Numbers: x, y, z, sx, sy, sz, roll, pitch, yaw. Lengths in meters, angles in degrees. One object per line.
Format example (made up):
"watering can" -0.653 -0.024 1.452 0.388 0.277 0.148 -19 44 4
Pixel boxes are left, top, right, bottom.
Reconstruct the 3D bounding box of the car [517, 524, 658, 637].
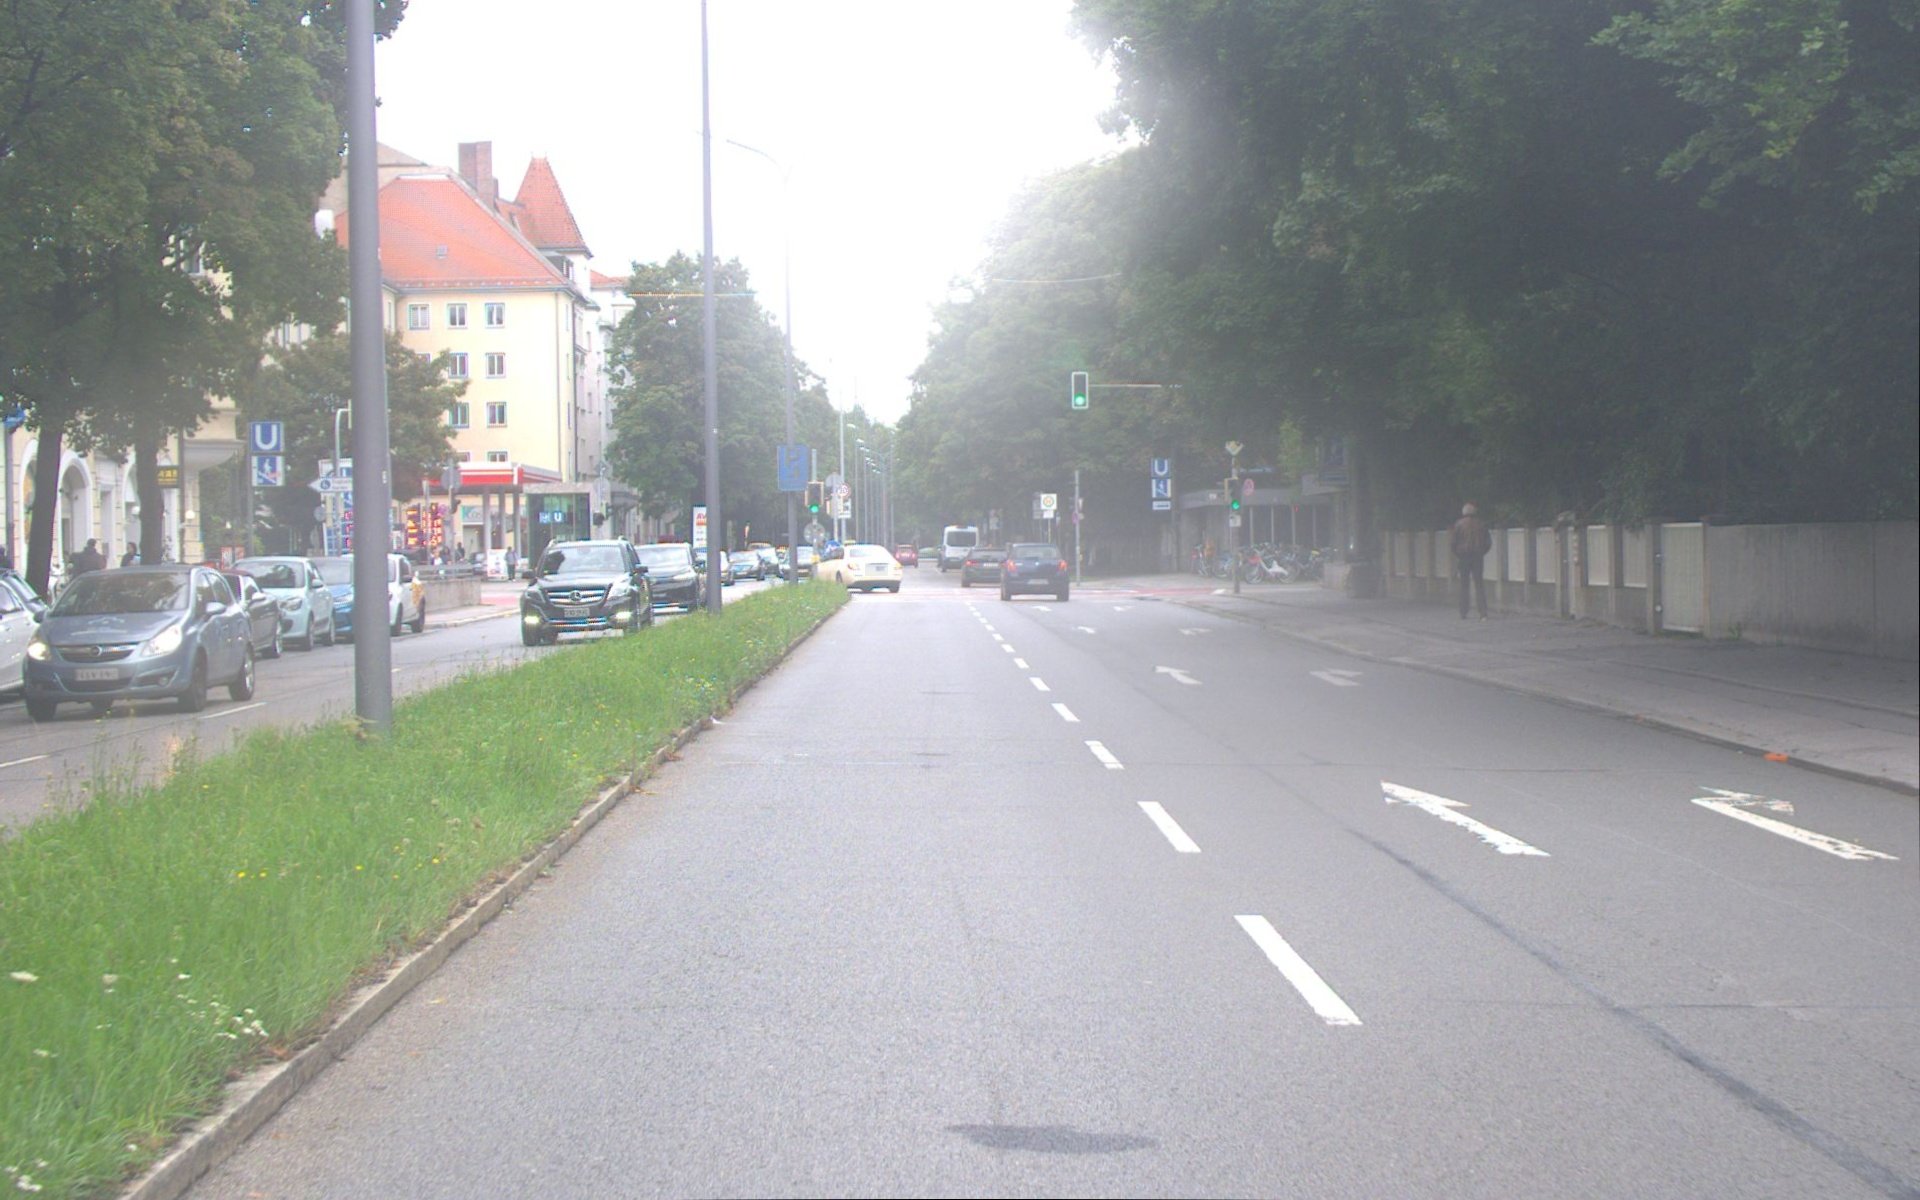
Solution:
"car" -5.928 -0.342 55.127 1.769 1.673 4.369 -2 1 0

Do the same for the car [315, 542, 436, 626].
"car" -11.428 -0.340 67.398 1.649 1.579 3.790 -1 1 1

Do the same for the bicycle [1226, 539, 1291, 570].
"bicycle" 9.921 -1.512 114.244 2.143 1.011 0.603 -1 1 8

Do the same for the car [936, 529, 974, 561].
"car" -0.283 -3.011 187.702 1.993 1.750 4.000 -1 1 -1

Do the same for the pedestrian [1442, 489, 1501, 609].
"pedestrian" 8.381 -0.836 56.353 0.777 1.935 0.802 -2 1 0

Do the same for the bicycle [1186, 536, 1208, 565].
"bicycle" 8.507 -1.787 123.258 0.556 1.011 2.016 -1 1 -3

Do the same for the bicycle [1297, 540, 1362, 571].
"bicycle" 12.406 -1.500 115.520 2.143 1.011 0.634 -1 1 8

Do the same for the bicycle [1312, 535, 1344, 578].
"bicycle" 9.683 -1.137 90.537 0.599 1.117 1.890 -1 0 0

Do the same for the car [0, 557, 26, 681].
"car" -13.339 0.245 41.069 3.889 1.459 1.732 -1 1 -2

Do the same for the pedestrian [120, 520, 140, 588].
"pedestrian" -19.796 -1.099 81.984 0.421 1.626 0.783 -1 1 -15

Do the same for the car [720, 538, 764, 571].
"car" -9.858 -2.083 155.756 1.759 1.455 4.000 -1 1 -1

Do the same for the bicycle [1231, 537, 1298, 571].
"bicycle" 10.059 -1.507 113.530 2.143 1.097 0.603 -1 1 8

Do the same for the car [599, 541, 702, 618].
"car" -7.038 -0.494 78.503 1.875 1.579 4.621 -3 1 0

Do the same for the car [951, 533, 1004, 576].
"car" 0.581 -1.588 119.317 1.779 1.469 3.893 0 1 -1

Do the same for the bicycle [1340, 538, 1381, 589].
"bicycle" 8.782 -0.809 75.392 0.622 1.087 2.026 -1 1 -1

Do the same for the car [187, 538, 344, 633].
"car" -11.499 -0.265 57.141 1.810 1.502 3.960 -1 1 -1

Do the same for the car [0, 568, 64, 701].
"car" -11.165 0.389 37.355 1.726 1.398 4.404 -1 1 -1

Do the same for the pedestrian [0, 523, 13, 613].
"pedestrian" -18.304 -0.600 65.056 0.543 1.691 0.770 -1 1 -2

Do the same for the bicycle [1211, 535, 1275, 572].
"bicycle" 9.702 -1.599 118.013 2.143 1.214 0.603 -1 1 8

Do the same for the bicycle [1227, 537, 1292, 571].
"bicycle" 10.009 -1.537 114.955 2.143 1.082 0.603 -1 1 8

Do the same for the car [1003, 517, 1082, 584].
"car" 2.116 -1.295 88.817 1.857 1.678 4.000 -1 1 -1

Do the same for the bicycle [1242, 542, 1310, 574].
"bicycle" 10.246 -1.367 111.447 2.143 1.011 0.603 -1 1 8

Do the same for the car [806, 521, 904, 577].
"car" -3.205 -1.568 104.457 1.778 1.641 4.783 -1 1 -17

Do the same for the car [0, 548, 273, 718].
"car" -8.271 0.284 34.698 1.810 1.502 4.057 -3 1 0

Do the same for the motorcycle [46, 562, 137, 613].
"motorcycle" -19.415 -0.291 76.869 0.609 1.127 1.982 0 1 40

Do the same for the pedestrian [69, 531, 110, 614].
"pedestrian" -17.967 -0.566 70.975 0.591 1.691 0.946 -1 1 -28

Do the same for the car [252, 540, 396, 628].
"car" -11.430 -0.321 62.032 1.810 1.502 4.291 -1 1 -1

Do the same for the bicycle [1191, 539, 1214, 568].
"bicycle" 8.488 -1.645 120.526 0.556 1.011 2.016 -1 1 -3

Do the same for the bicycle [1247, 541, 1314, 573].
"bicycle" 10.437 -1.391 112.072 2.143 1.011 0.634 -1 1 8

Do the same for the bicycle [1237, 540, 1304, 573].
"bicycle" 10.199 -1.426 112.828 2.143 1.067 0.603 -1 1 8

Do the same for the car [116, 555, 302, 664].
"car" -11.204 0.108 51.586 1.810 1.502 4.646 -1 1 -1
